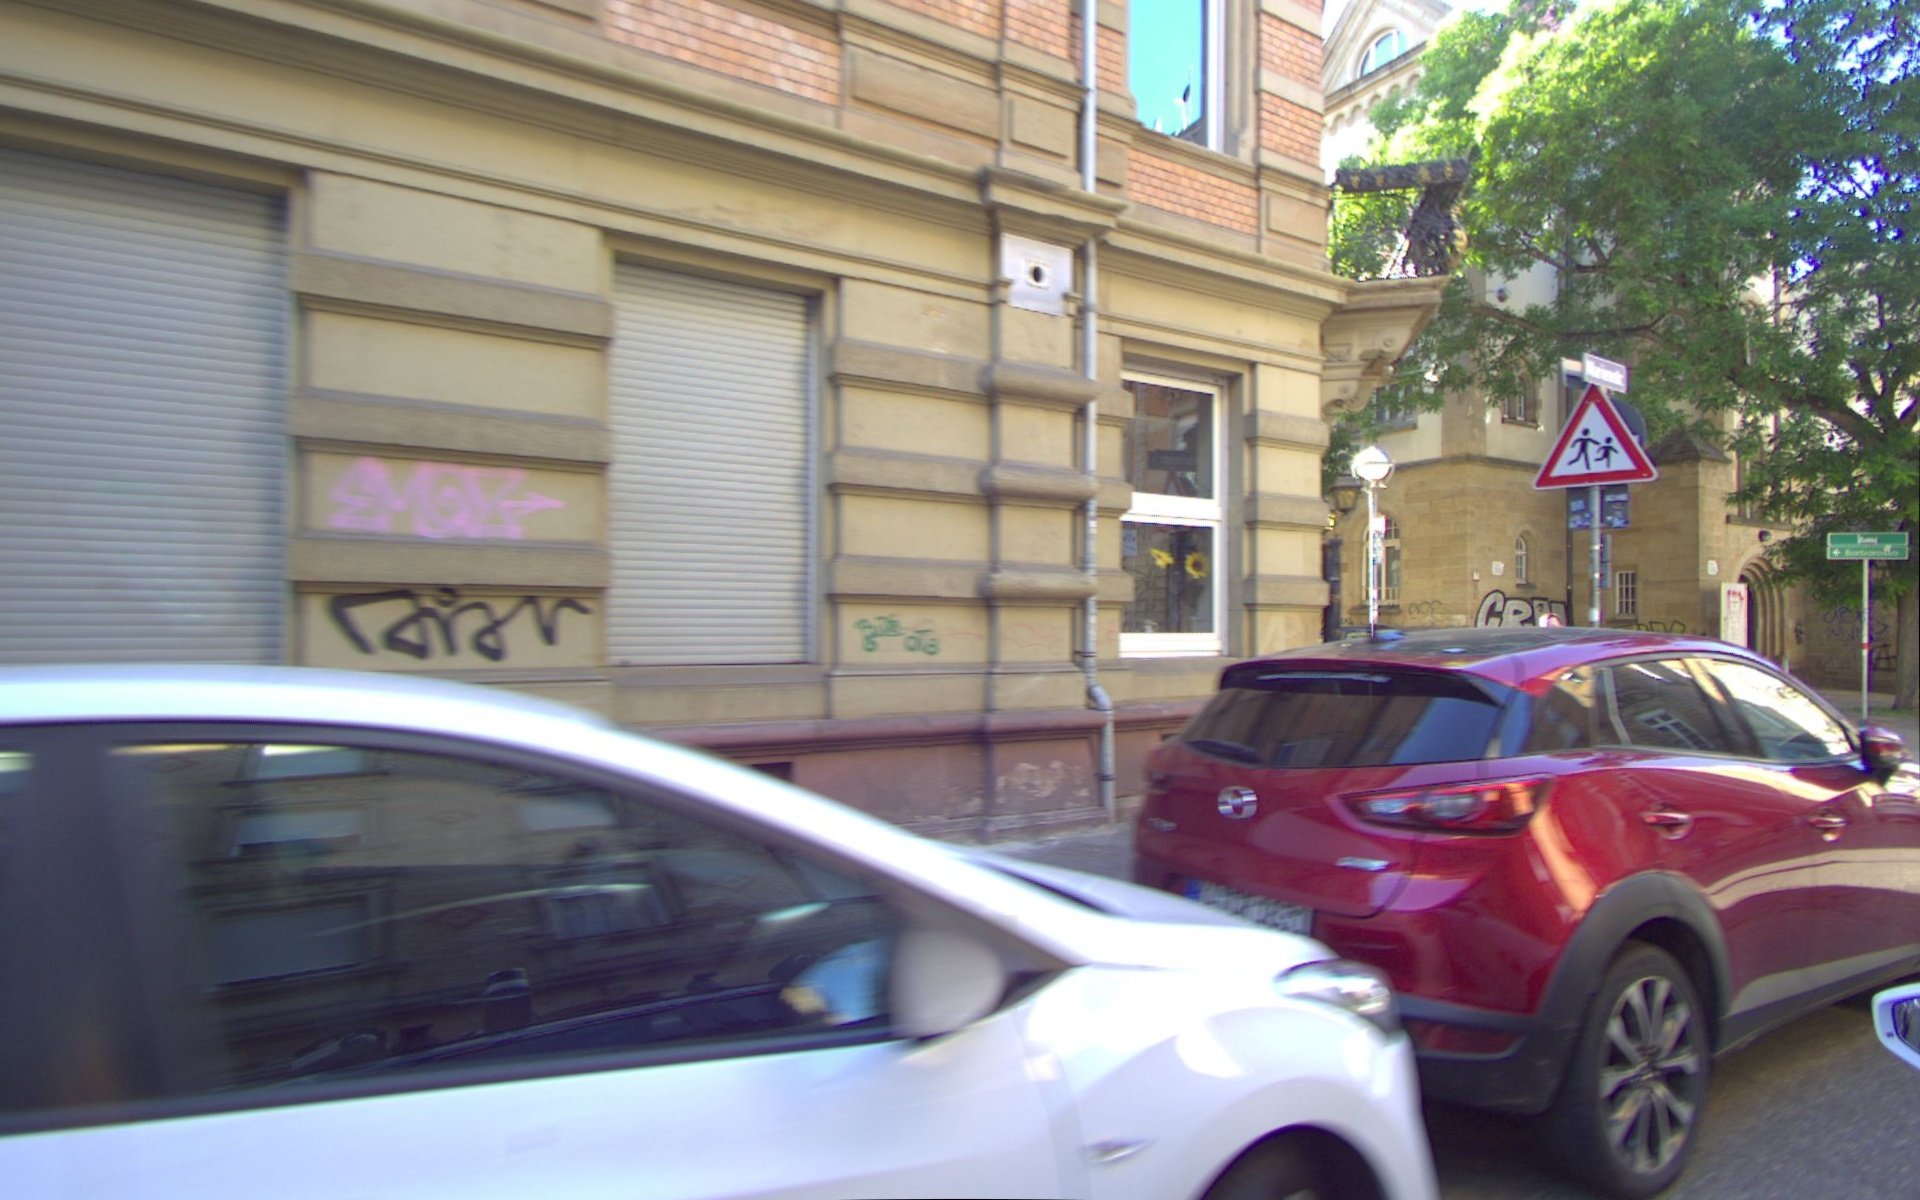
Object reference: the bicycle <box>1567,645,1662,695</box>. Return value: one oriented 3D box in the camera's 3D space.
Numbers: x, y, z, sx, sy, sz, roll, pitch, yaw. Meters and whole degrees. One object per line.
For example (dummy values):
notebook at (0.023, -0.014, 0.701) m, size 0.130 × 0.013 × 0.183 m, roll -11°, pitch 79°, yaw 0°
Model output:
bicycle at (14.886, 1.570, 22.887) m, size 0.473 × 1.068 × 1.767 m, roll 0°, pitch -2°, yaw -30°

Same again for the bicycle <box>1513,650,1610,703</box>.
bicycle at (13.140, 1.646, 21.990) m, size 0.528 × 1.068 × 1.767 m, roll 0°, pitch -2°, yaw -30°

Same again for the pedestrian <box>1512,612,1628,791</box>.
pedestrian at (5.741, 0.918, 9.457) m, size 0.751 × 1.601 × 0.663 m, roll 1°, pitch -1°, yaw -31°

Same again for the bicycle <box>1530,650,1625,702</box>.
bicycle at (13.597, 1.647, 22.179) m, size 0.473 × 1.068 × 1.767 m, roll 0°, pitch -2°, yaw -30°

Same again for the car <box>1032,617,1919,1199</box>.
car at (2.436, 0.852, 3.924) m, size 4.041 × 1.501 × 1.714 m, roll 1°, pitch -1°, yaw -30°

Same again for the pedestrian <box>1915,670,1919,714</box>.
pedestrian at (17.841, 1.673, 18.042) m, size 0.904 × 0.788 × 0.700 m, roll -1°, pitch -2°, yaw 36°

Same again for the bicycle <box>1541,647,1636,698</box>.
bicycle at (13.947, 1.592, 22.332) m, size 0.473 × 1.068 × 1.767 m, roll 0°, pitch -2°, yaw -30°

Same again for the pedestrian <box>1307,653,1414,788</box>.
pedestrian at (3.775, 1.119, 9.516) m, size 0.733 × 1.193 × 0.669 m, roll 1°, pitch -1°, yaw 0°

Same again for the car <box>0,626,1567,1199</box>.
car at (-0.864, 0.787, 1.677) m, size 3.831 × 1.439 × 1.665 m, roll 1°, pitch -1°, yaw -32°

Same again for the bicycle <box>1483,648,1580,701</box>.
bicycle at (12.162, 1.567, 21.428) m, size 0.528 × 1.068 × 1.767 m, roll 0°, pitch -2°, yaw -30°

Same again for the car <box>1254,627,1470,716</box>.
car at (8.268, 1.392, 21.017) m, size 1.749 × 1.619 × 3.968 m, roll -1°, pitch -1°, yaw -30°

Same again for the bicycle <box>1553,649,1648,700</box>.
bicycle at (14.385, 1.660, 22.608) m, size 0.473 × 1.068 × 1.767 m, roll 0°, pitch -2°, yaw -30°
